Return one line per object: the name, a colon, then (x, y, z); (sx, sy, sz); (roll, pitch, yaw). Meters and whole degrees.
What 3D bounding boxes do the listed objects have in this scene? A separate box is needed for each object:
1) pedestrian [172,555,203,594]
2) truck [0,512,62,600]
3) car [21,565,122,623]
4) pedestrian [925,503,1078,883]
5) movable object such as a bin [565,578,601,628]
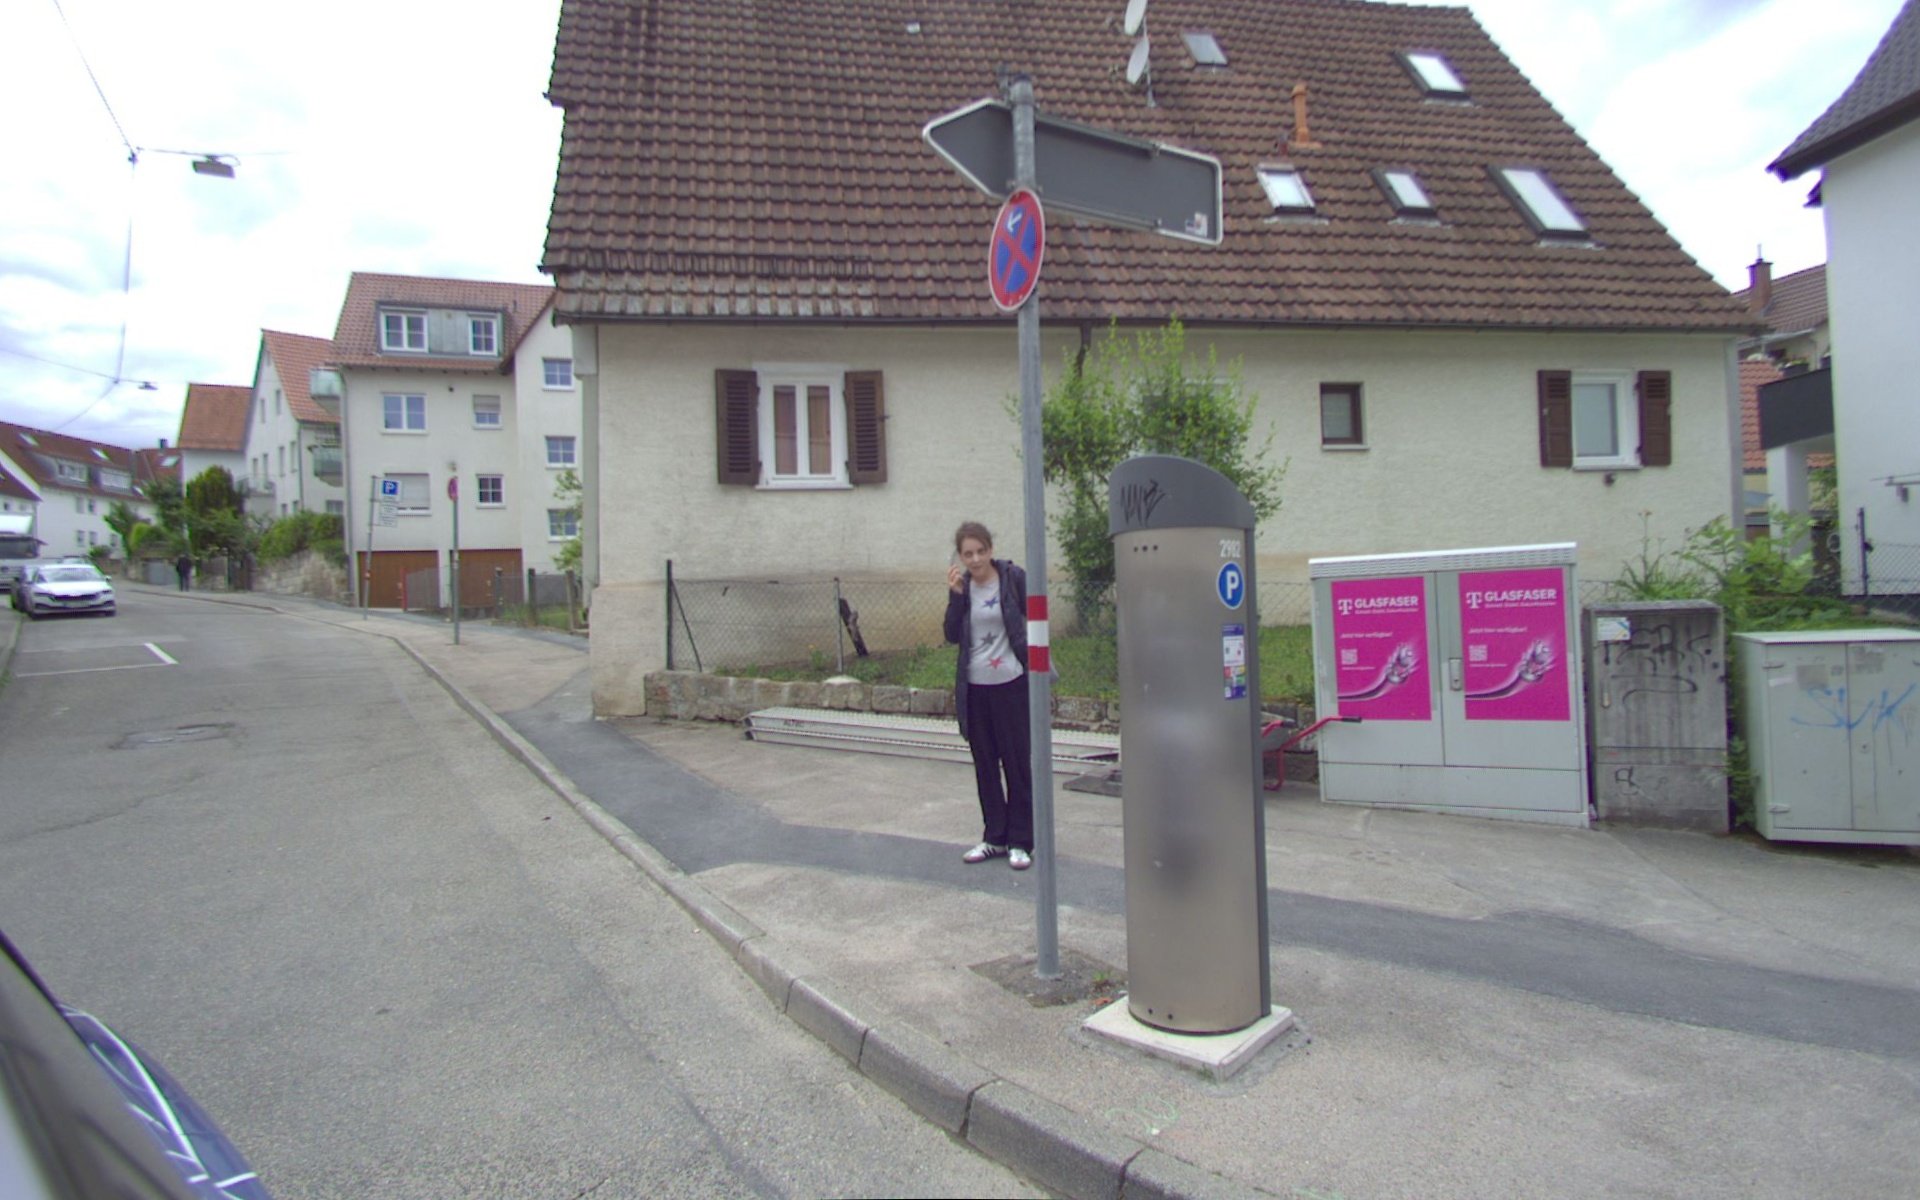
pedestrian: (-34.503, -1.133, 45.198); (0.976, 1.690, 0.831); (2, 4, 41)
truck: (-42.335, -1.888, 44.685); (8.098, 3.623, 2.650); (1, 3, 39)
car: (-24.990, -0.232, 28.428); (4.300, 1.456, 1.775); (2, 4, 45)
pedestrian: (0.222, 0.412, 4.900); (0.598, 1.697, 0.646); (-1, 1, 13)
movable object such as a bin: (-7.199, 0.046, 19.348); (0.519, 0.890, 0.491); (-4, 5, -14)
